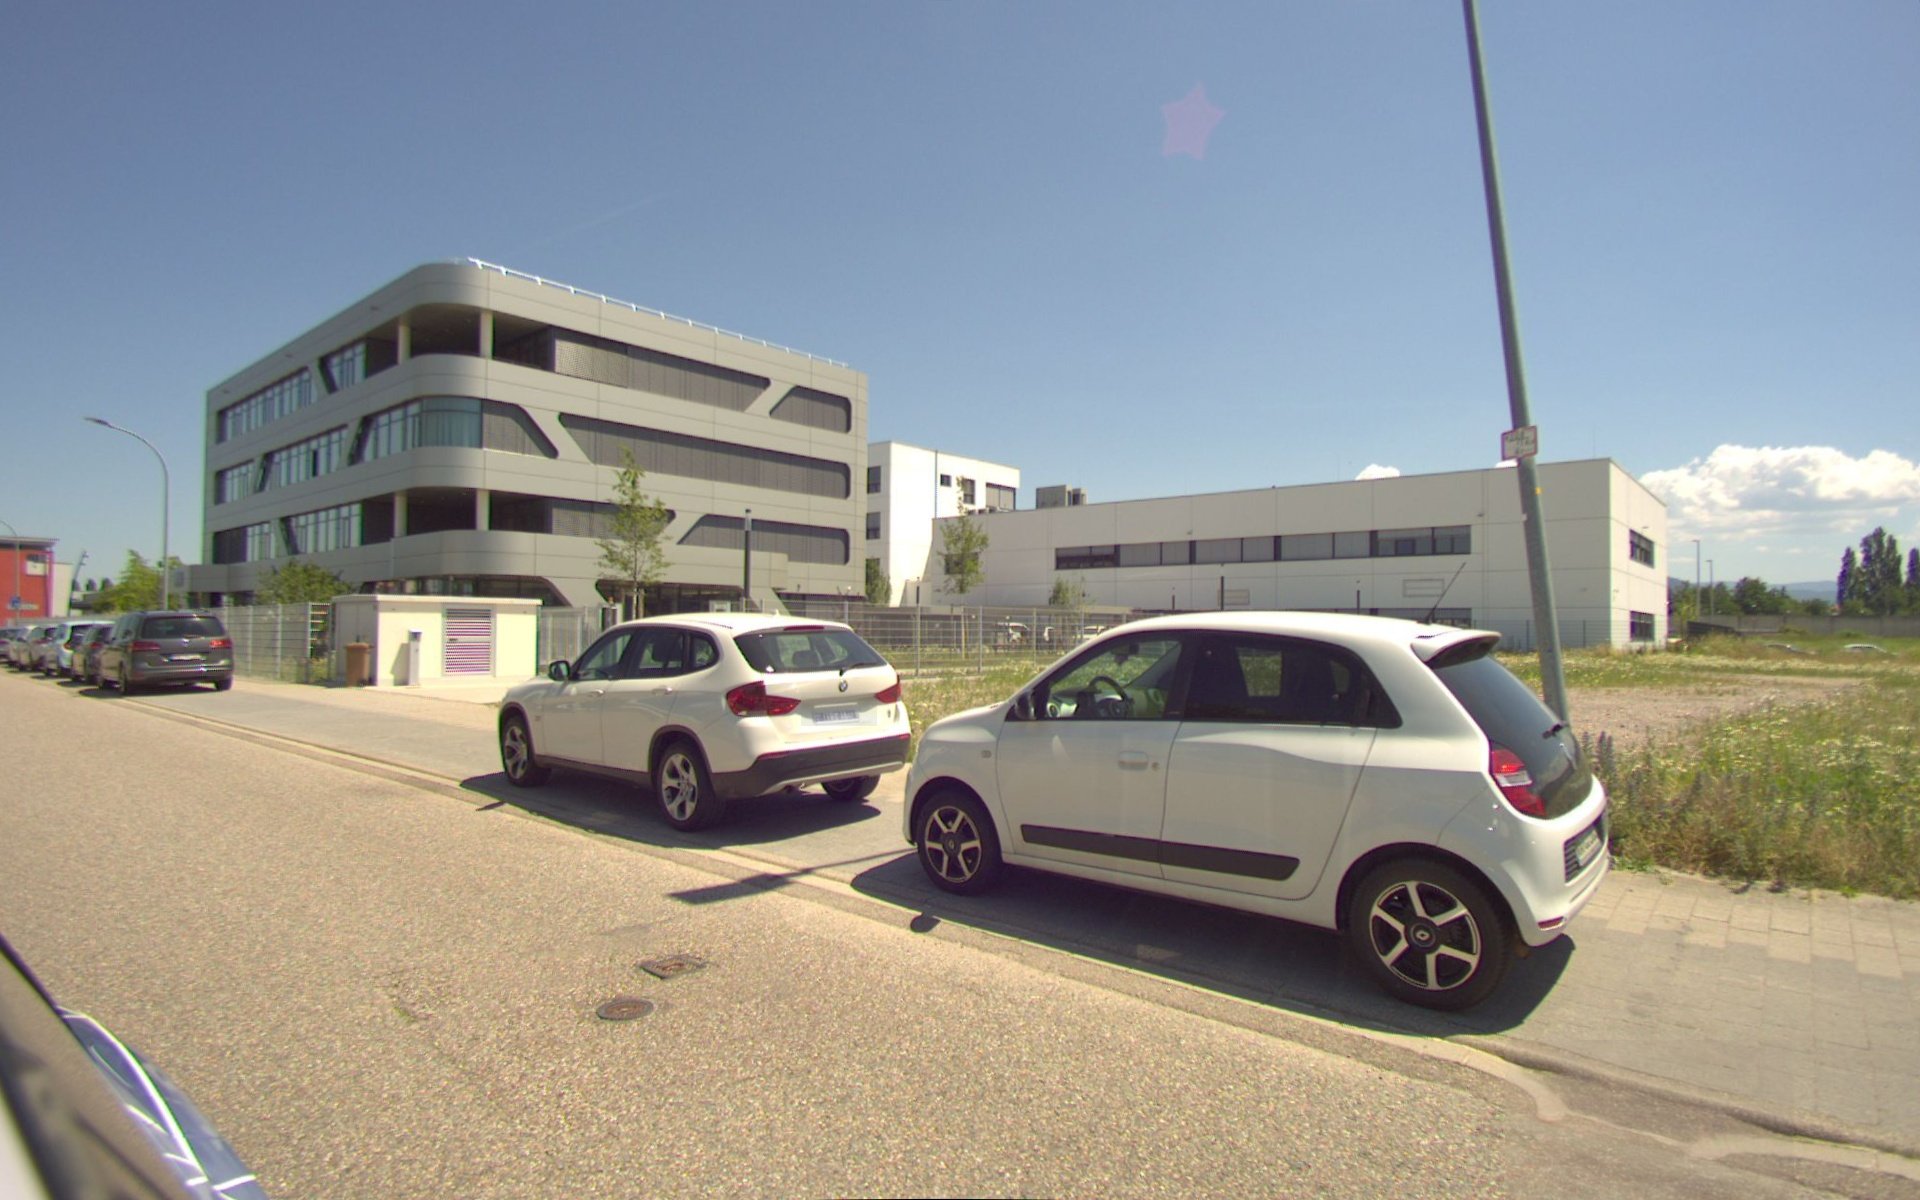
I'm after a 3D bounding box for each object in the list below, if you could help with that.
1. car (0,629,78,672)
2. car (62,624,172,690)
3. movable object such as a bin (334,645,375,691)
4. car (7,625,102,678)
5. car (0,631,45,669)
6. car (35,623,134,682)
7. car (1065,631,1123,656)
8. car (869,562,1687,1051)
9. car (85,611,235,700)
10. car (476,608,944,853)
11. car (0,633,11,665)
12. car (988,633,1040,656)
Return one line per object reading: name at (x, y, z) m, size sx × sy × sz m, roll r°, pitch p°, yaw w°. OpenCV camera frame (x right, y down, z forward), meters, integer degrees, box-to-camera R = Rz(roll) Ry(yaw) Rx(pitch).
car at (-33.388, 1.781, 36.568) m, size 4.436 × 1.455 × 1.685 m, roll -2°, pitch -1°, yaw 41°
car at (-21.253, 1.374, 25.472) m, size 3.971 × 1.512 × 1.617 m, roll -2°, pitch -1°, yaw 42°
movable object such as a bin at (-12.972, 1.459, 21.681) m, size 0.594 × 0.952 × 0.517 m, roll 0°, pitch -2°, yaw -9°
car at (-29.204, 1.612, 32.597) m, size 4.569 × 1.548 × 1.685 m, roll -2°, pitch -1°, yaw 41°
car at (-37.678, 1.971, 40.087) m, size 4.637 × 1.396 × 1.666 m, roll -3°, pitch -3°, yaw 42°
car at (-24.925, 1.465, 28.784) m, size 3.655 × 1.548 × 1.618 m, roll -2°, pitch -1°, yaw 41°
car at (8.698, 2.825, 65.465) m, size 1.921 × 1.597 × 3.945 m, roll -2°, pitch -3°, yaw 41°
car at (1.461, 0.747, 5.376) m, size 3.766 × 1.669 × 1.769 m, roll -1°, pitch -2°, yaw 40°
car at (-17.425, 1.139, 21.973) m, size 4.620 × 1.733 × 1.784 m, roll -2°, pitch -1°, yaw 42°
car at (-2.312, 0.877, 8.573) m, size 4.364 × 1.554 × 1.767 m, roll -1°, pitch -2°, yaw 43°
car at (-44.351, 2.225, 45.671) m, size 3.932 × 1.396 × 1.682 m, roll -2°, pitch -3°, yaw 39°
car at (3.798, 3.101, 70.437) m, size 1.917 × 1.597 × 3.953 m, roll -1°, pitch -3°, yaw 34°
